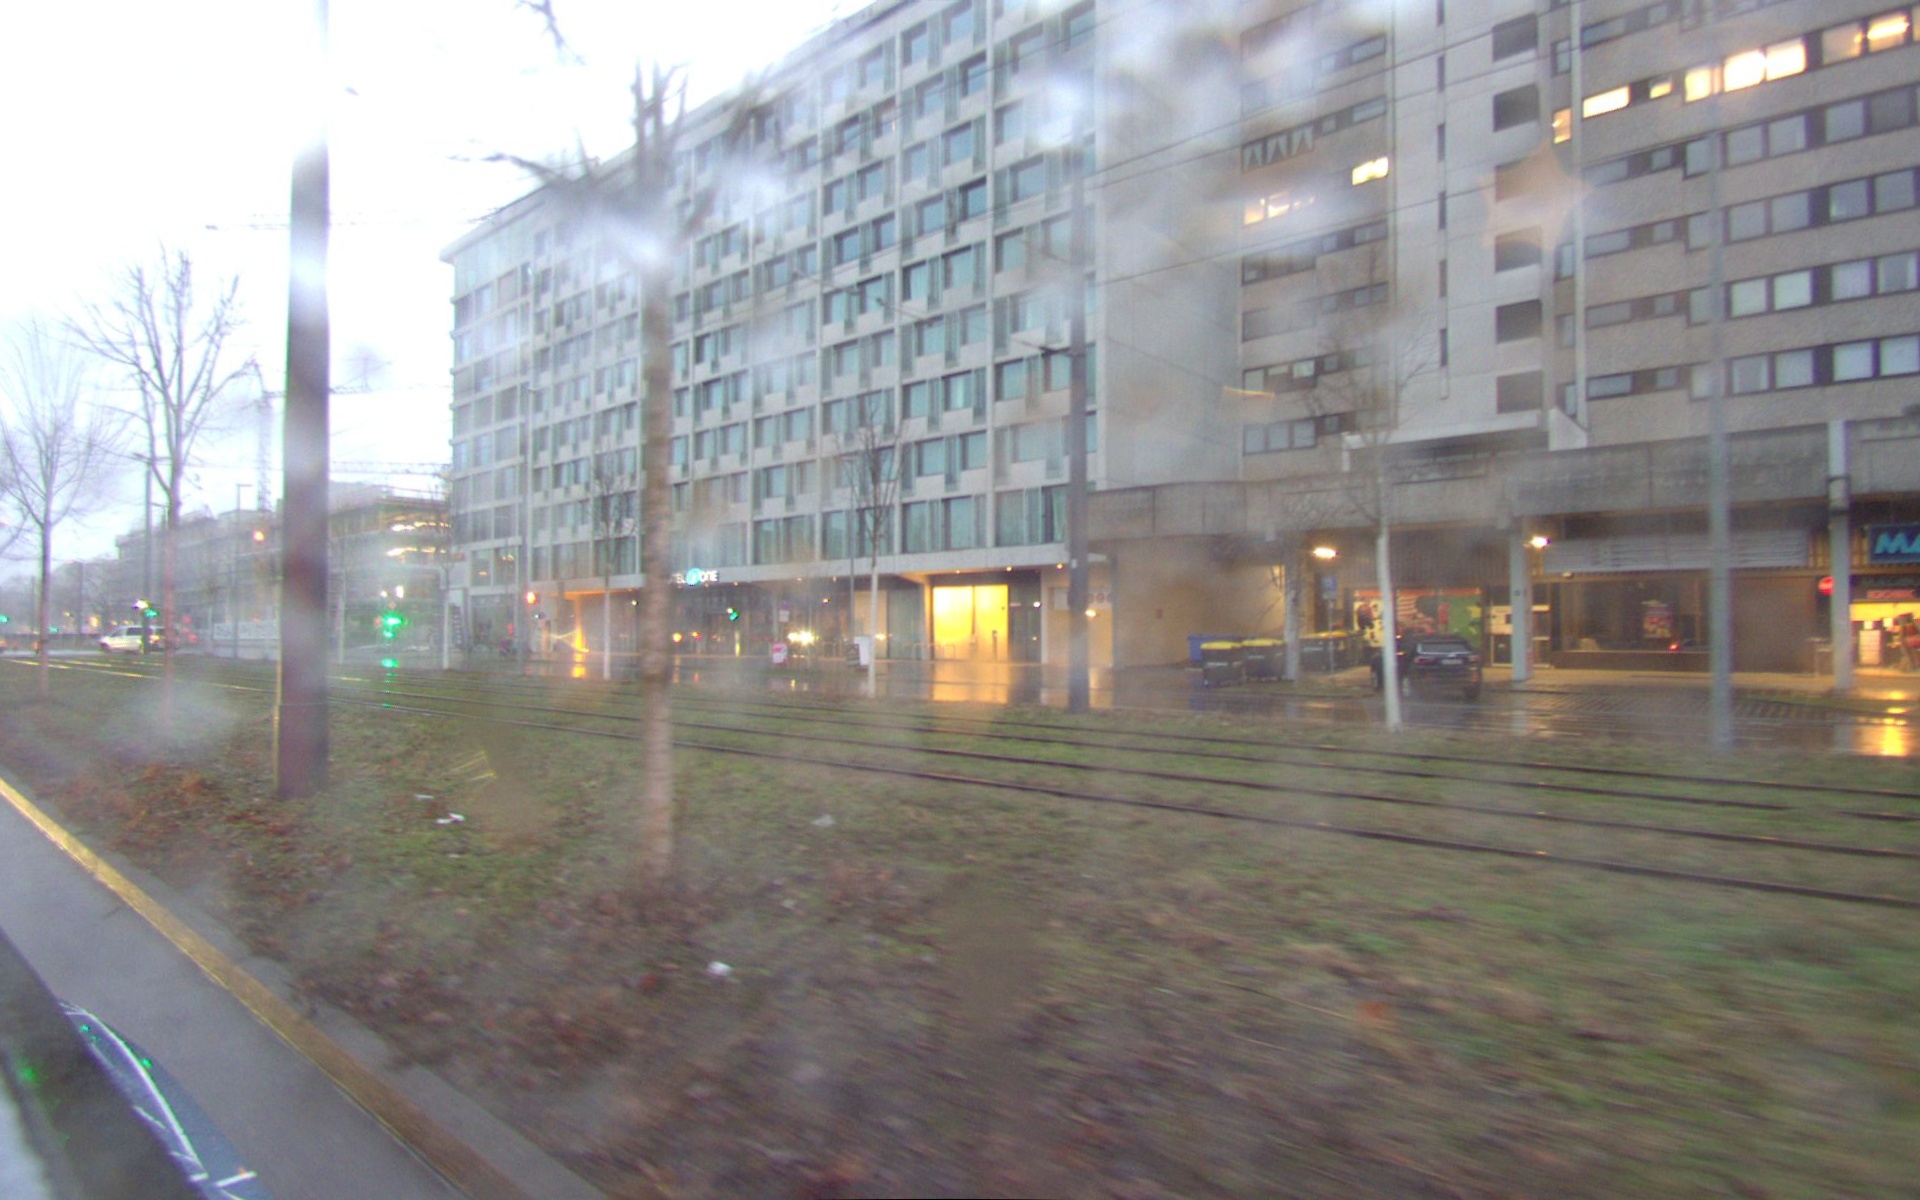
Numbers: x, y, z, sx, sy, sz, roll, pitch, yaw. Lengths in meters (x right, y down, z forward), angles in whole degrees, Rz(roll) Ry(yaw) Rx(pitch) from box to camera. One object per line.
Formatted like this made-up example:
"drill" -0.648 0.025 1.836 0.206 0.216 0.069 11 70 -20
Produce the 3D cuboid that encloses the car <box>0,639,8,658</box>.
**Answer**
"car" -65.937 3.226 66.922 3.931 1.317 1.823 1 -2 -27

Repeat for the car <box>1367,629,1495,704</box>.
"car" 12.481 1.706 27.116 1.962 1.706 4.131 -1 0 9

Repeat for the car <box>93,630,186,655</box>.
"car" -55.339 2.854 68.281 4.987 1.682 2.082 -1 -2 10

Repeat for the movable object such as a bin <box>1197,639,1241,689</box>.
"movable object such as a bin" 7.849 1.925 30.627 1.027 1.437 1.063 -1 0 30

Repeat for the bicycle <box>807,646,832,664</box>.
"bicycle" -7.314 2.852 52.718 0.465 0.860 1.332 -1 0 39
